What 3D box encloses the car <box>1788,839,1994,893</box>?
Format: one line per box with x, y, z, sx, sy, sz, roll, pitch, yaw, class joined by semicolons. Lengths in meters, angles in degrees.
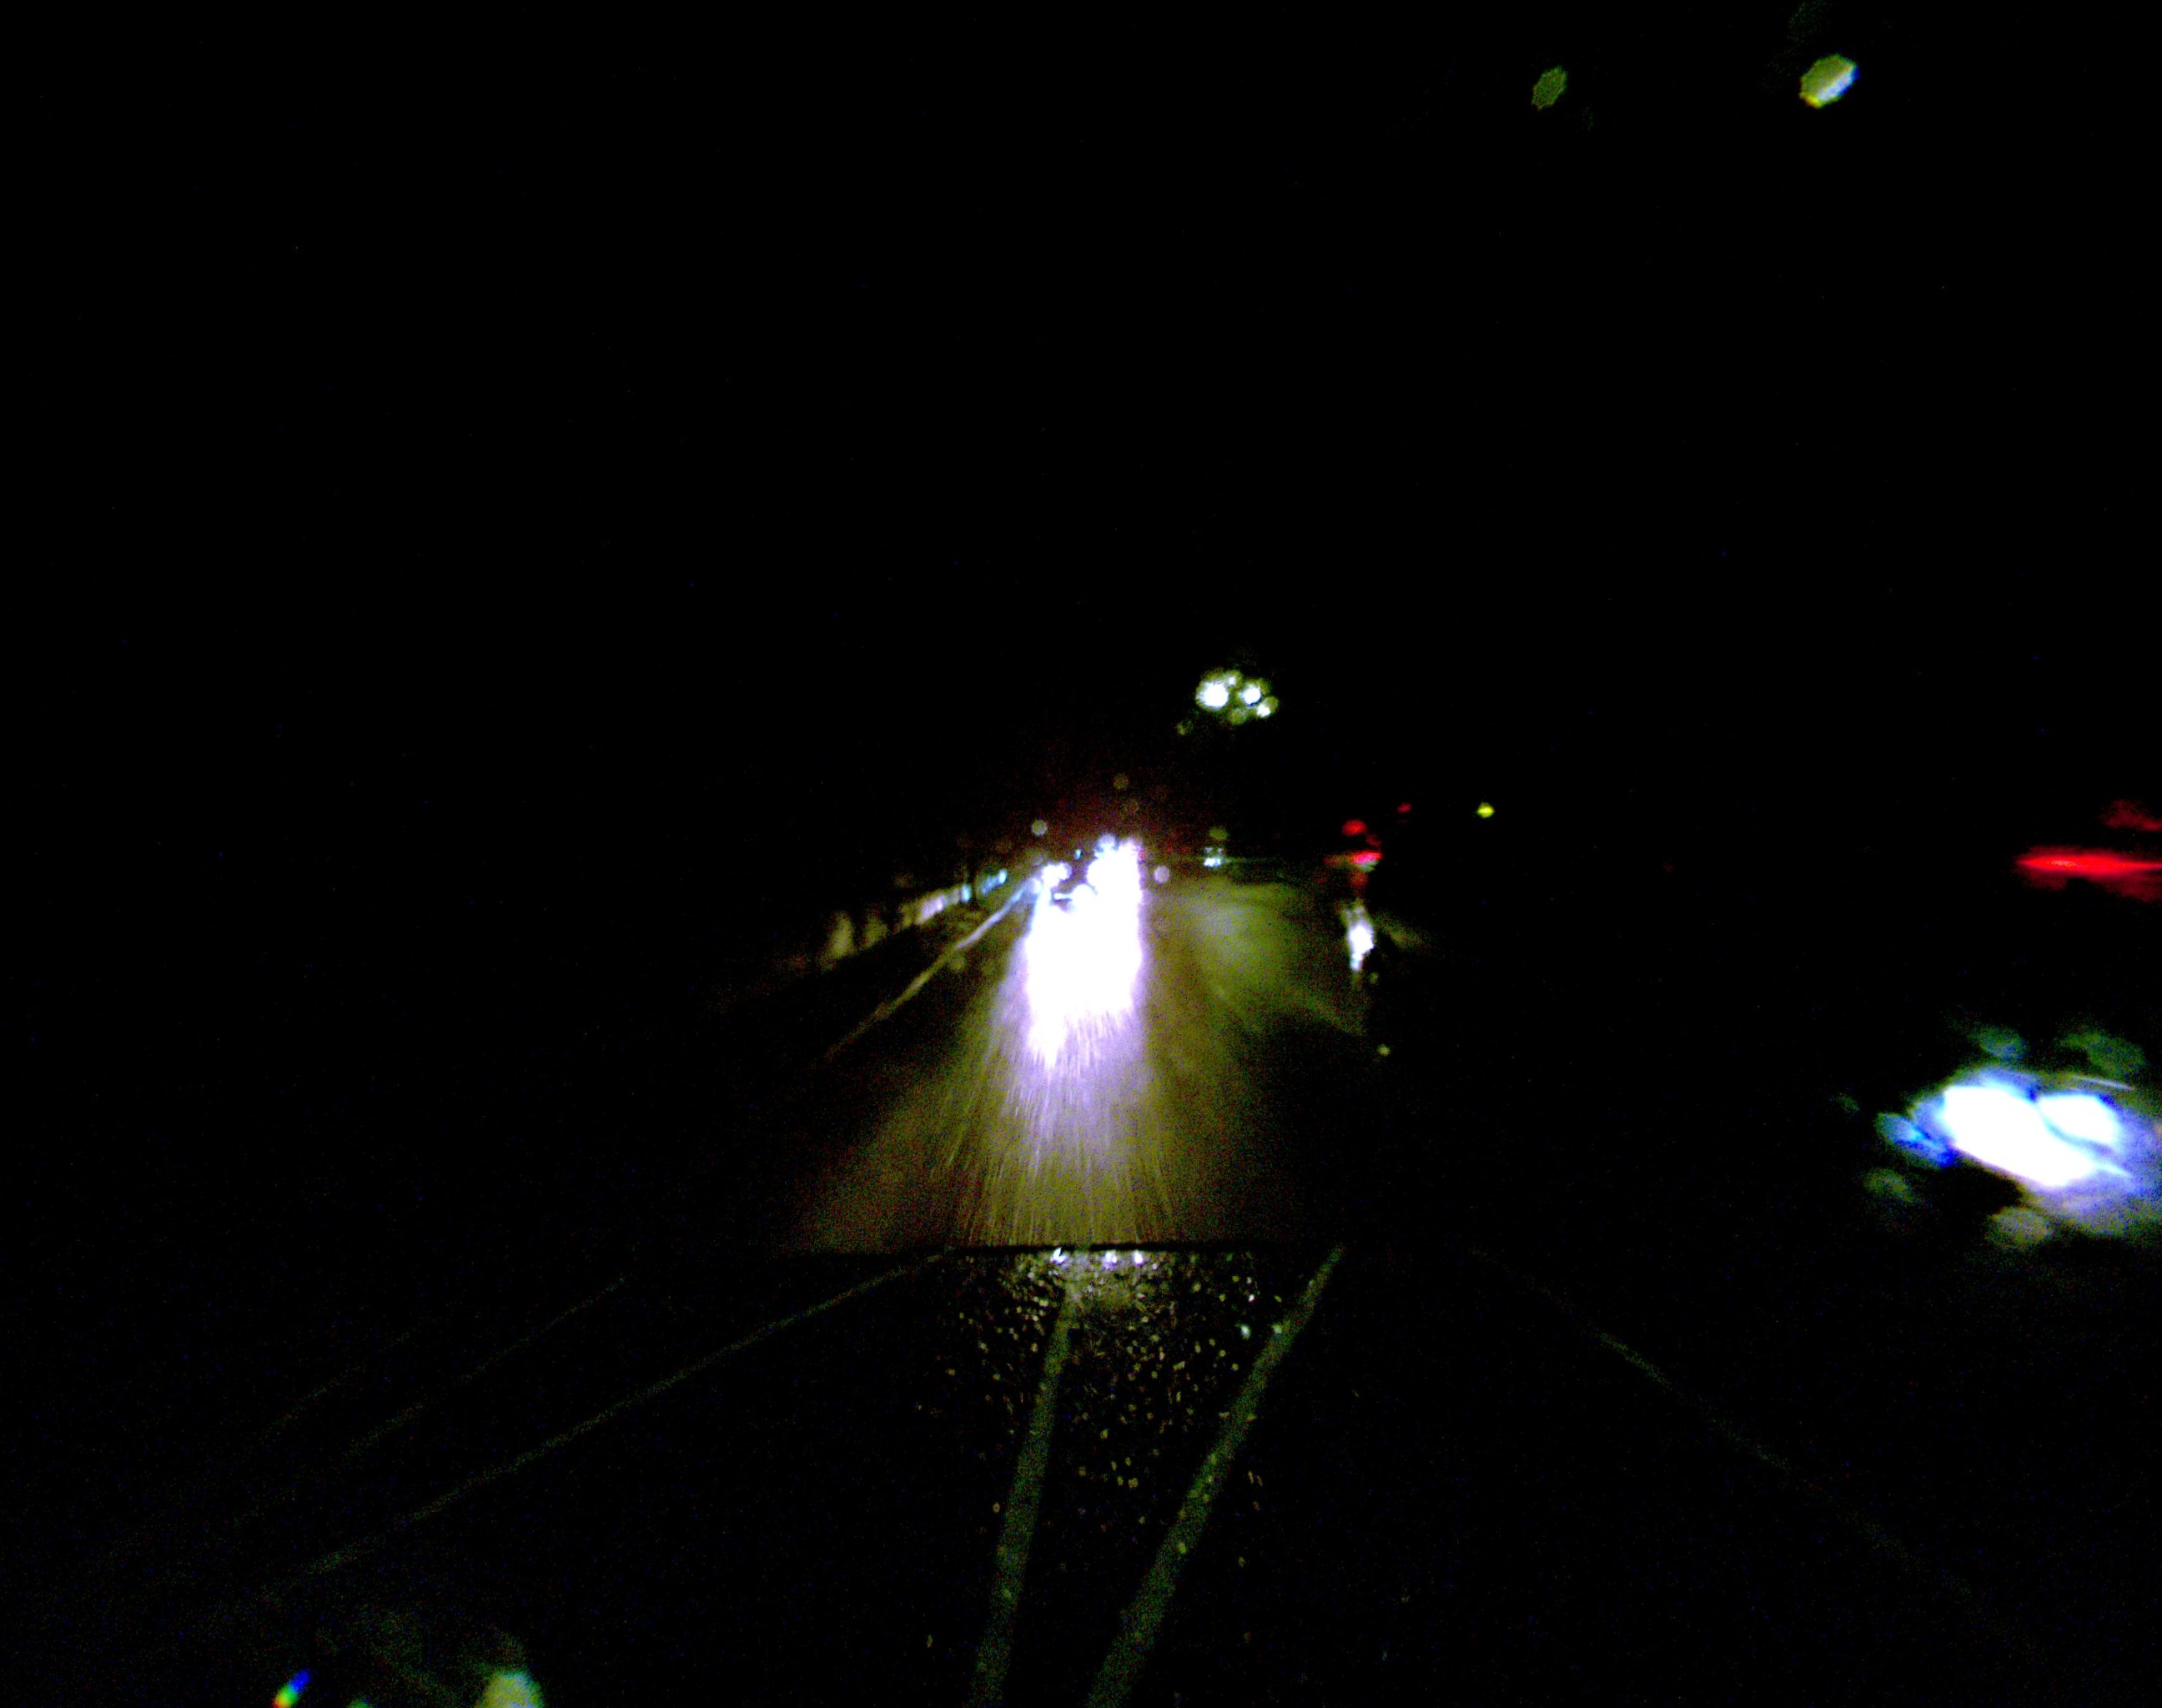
24.448;0.295;23.069;2.185;1.441;4.124;-3;3;-41;car

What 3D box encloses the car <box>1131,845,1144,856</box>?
8.788;-0.555;118.291;1.658;1.490;4.373;1;1;-2;car

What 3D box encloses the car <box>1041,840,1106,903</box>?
-0.148;0.494;24.599;1.877;1.825;4.205;-1;1;2;car

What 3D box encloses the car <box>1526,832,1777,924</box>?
11.384;0.384;15.684;1.703;1.562;4.711;-1;1;1;car

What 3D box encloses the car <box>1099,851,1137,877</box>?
2.286;0.590;47.989;1.999;1.456;3.997;-1;2;-3;car

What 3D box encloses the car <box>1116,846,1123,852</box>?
9.900;-1.235;196.493;1.750;1.495;4.892;-1;2;3;car

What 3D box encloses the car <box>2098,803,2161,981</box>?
10.982;0.391;5.617;1.685;1.682;3.947;-1;2;2;car

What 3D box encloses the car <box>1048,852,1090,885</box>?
-0.626;0.698;38.898;1.999;1.456;3.998;-1;2;-2;car

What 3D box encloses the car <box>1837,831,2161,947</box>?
14.250;0.398;11.611;1.672;1.445;3.727;-1;2;0;car

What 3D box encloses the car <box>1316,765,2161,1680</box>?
2.892;0.638;3.600;1.914;1.694;4.937;-1;1;-1;car

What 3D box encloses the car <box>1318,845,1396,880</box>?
13.719;0.359;38.149;1.797;1.562;4.911;-1;1;-4;car
